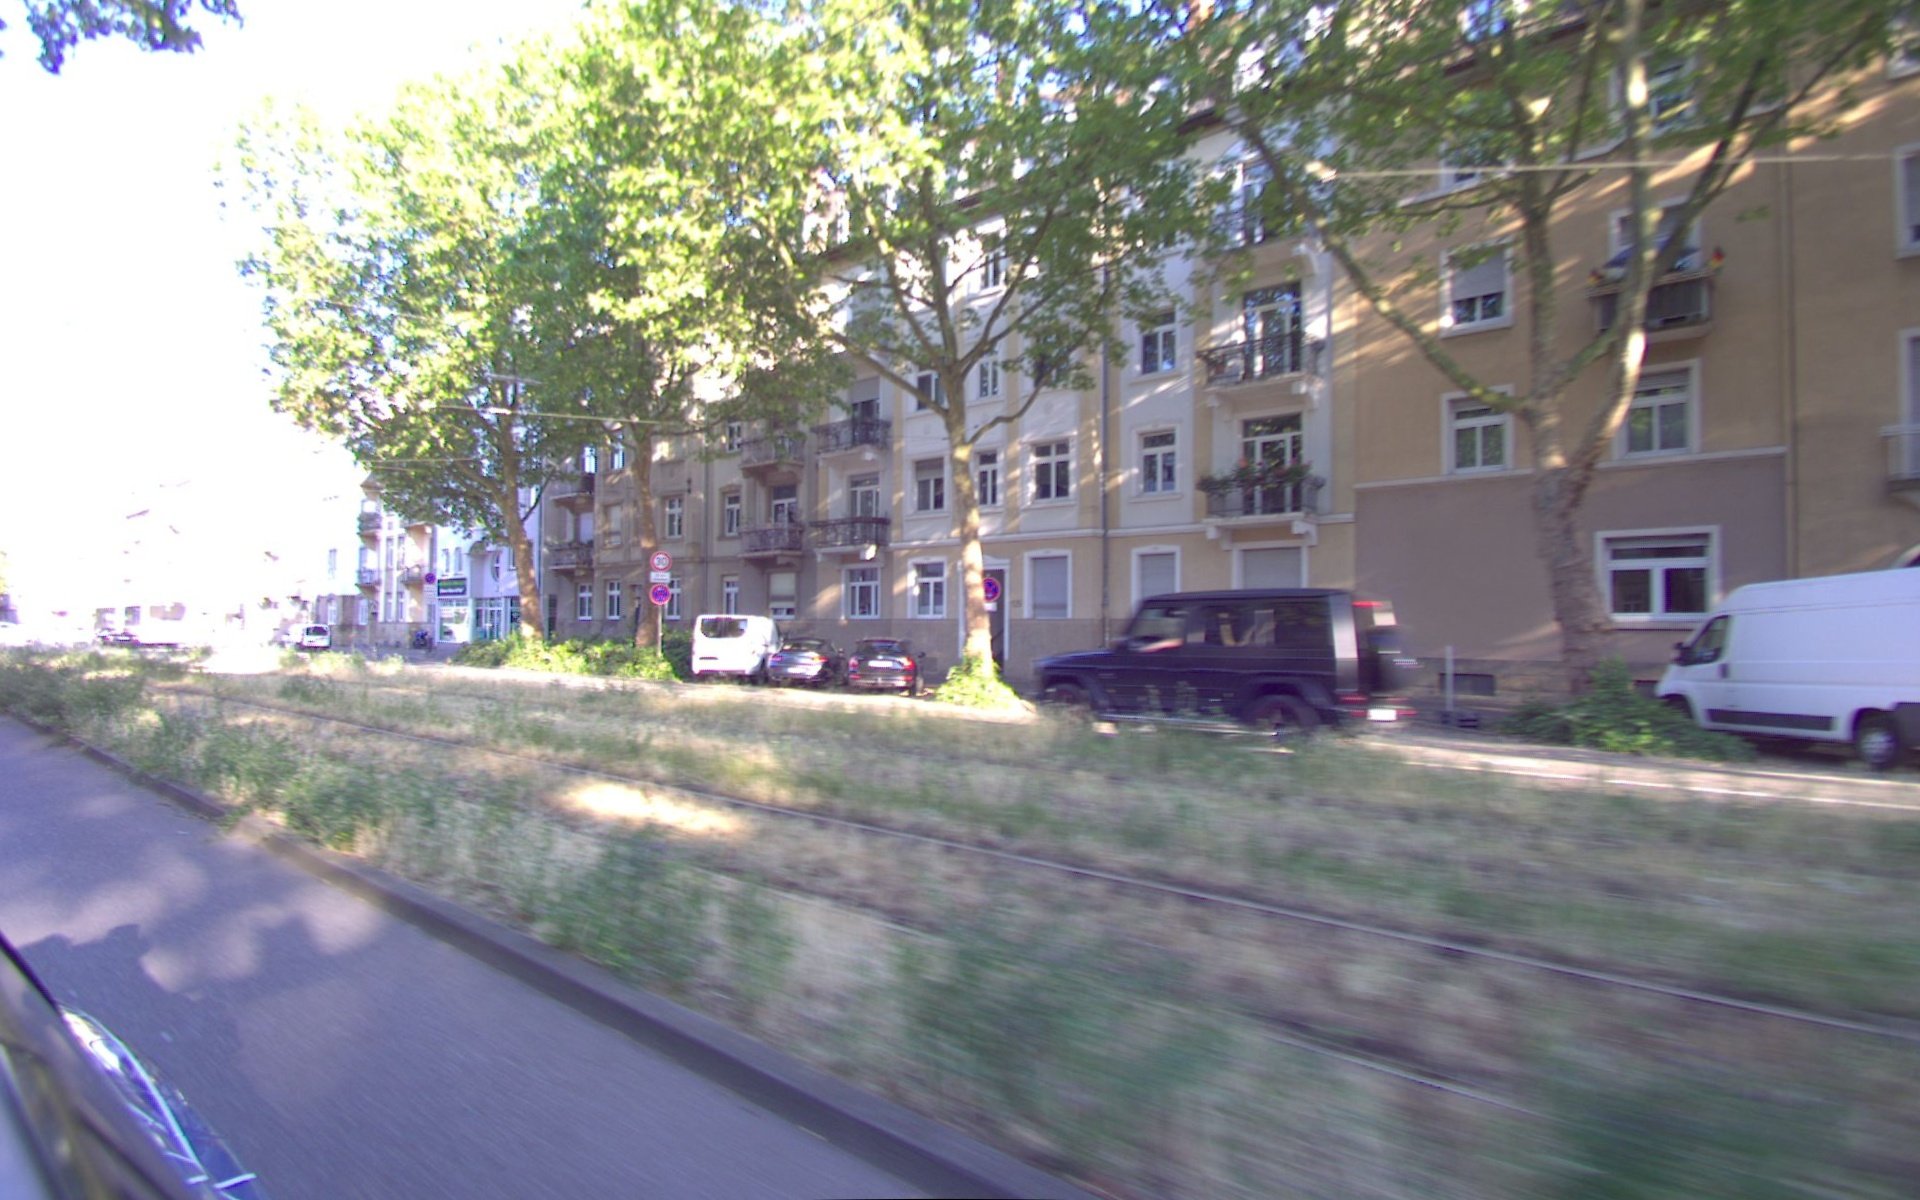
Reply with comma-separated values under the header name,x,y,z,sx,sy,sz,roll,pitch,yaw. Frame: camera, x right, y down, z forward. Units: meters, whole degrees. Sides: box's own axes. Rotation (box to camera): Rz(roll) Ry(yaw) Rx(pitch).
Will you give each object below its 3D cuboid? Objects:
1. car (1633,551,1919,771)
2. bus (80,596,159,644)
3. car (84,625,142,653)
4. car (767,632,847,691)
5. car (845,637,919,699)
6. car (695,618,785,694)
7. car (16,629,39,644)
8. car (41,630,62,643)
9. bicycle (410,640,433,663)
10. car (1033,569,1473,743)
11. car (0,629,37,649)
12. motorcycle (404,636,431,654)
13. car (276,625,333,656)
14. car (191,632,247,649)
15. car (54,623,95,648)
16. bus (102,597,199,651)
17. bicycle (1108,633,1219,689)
name,x,y,z,sx,sy,sz,roll,pitch,yaw
car,12.115,0.762,13.770,2.096,2.548,5.509,0,-2,-1
bus,-63.745,1.493,76.627,9.898,3.400,3.230,0,-1,43
car,-47.399,2.160,56.602,4.696,1.497,1.698,-1,-4,41
car,-4.198,1.672,28.349,1.697,1.502,4.177,0,-1,-1
car,-1.940,1.695,25.986,1.697,1.433,3.729,0,-1,-1
car,-6.515,1.608,30.482,1.697,2.082,5.248,0,-1,-1
car,-126.382,4.965,137.128,4.309,1.914,1.894,0,-1,43
car,-105.792,4.246,117.885,1.711,1.491,3.818,2,-3,-43
bicycle,-27.609,2.634,51.906,0.747,1.040,1.899,-5,3,-35
car,3.354,0.567,12.203,4.773,1.706,1.850,0,-1,41
car,-77.755,3.135,82.143,4.067,1.586,1.717,2,-1,-44
motorcycle,-32.690,2.678,60.969,2.418,1.029,0.522,-1,0,40
car,-41.188,2.540,63.555,4.653,1.800,1.883,0,-1,43
car,-68.114,3.692,93.046,3.995,1.537,1.783,2,-1,-43
car,-64.226,2.529,73.395,4.001,1.697,1.908,0,-1,44
bus,-55.580,1.583,69.298,11.974,3.400,3.220,0,-1,42
bicycle,5.435,1.610,27.201,2.960,1.402,0.734,-1,-2,42
